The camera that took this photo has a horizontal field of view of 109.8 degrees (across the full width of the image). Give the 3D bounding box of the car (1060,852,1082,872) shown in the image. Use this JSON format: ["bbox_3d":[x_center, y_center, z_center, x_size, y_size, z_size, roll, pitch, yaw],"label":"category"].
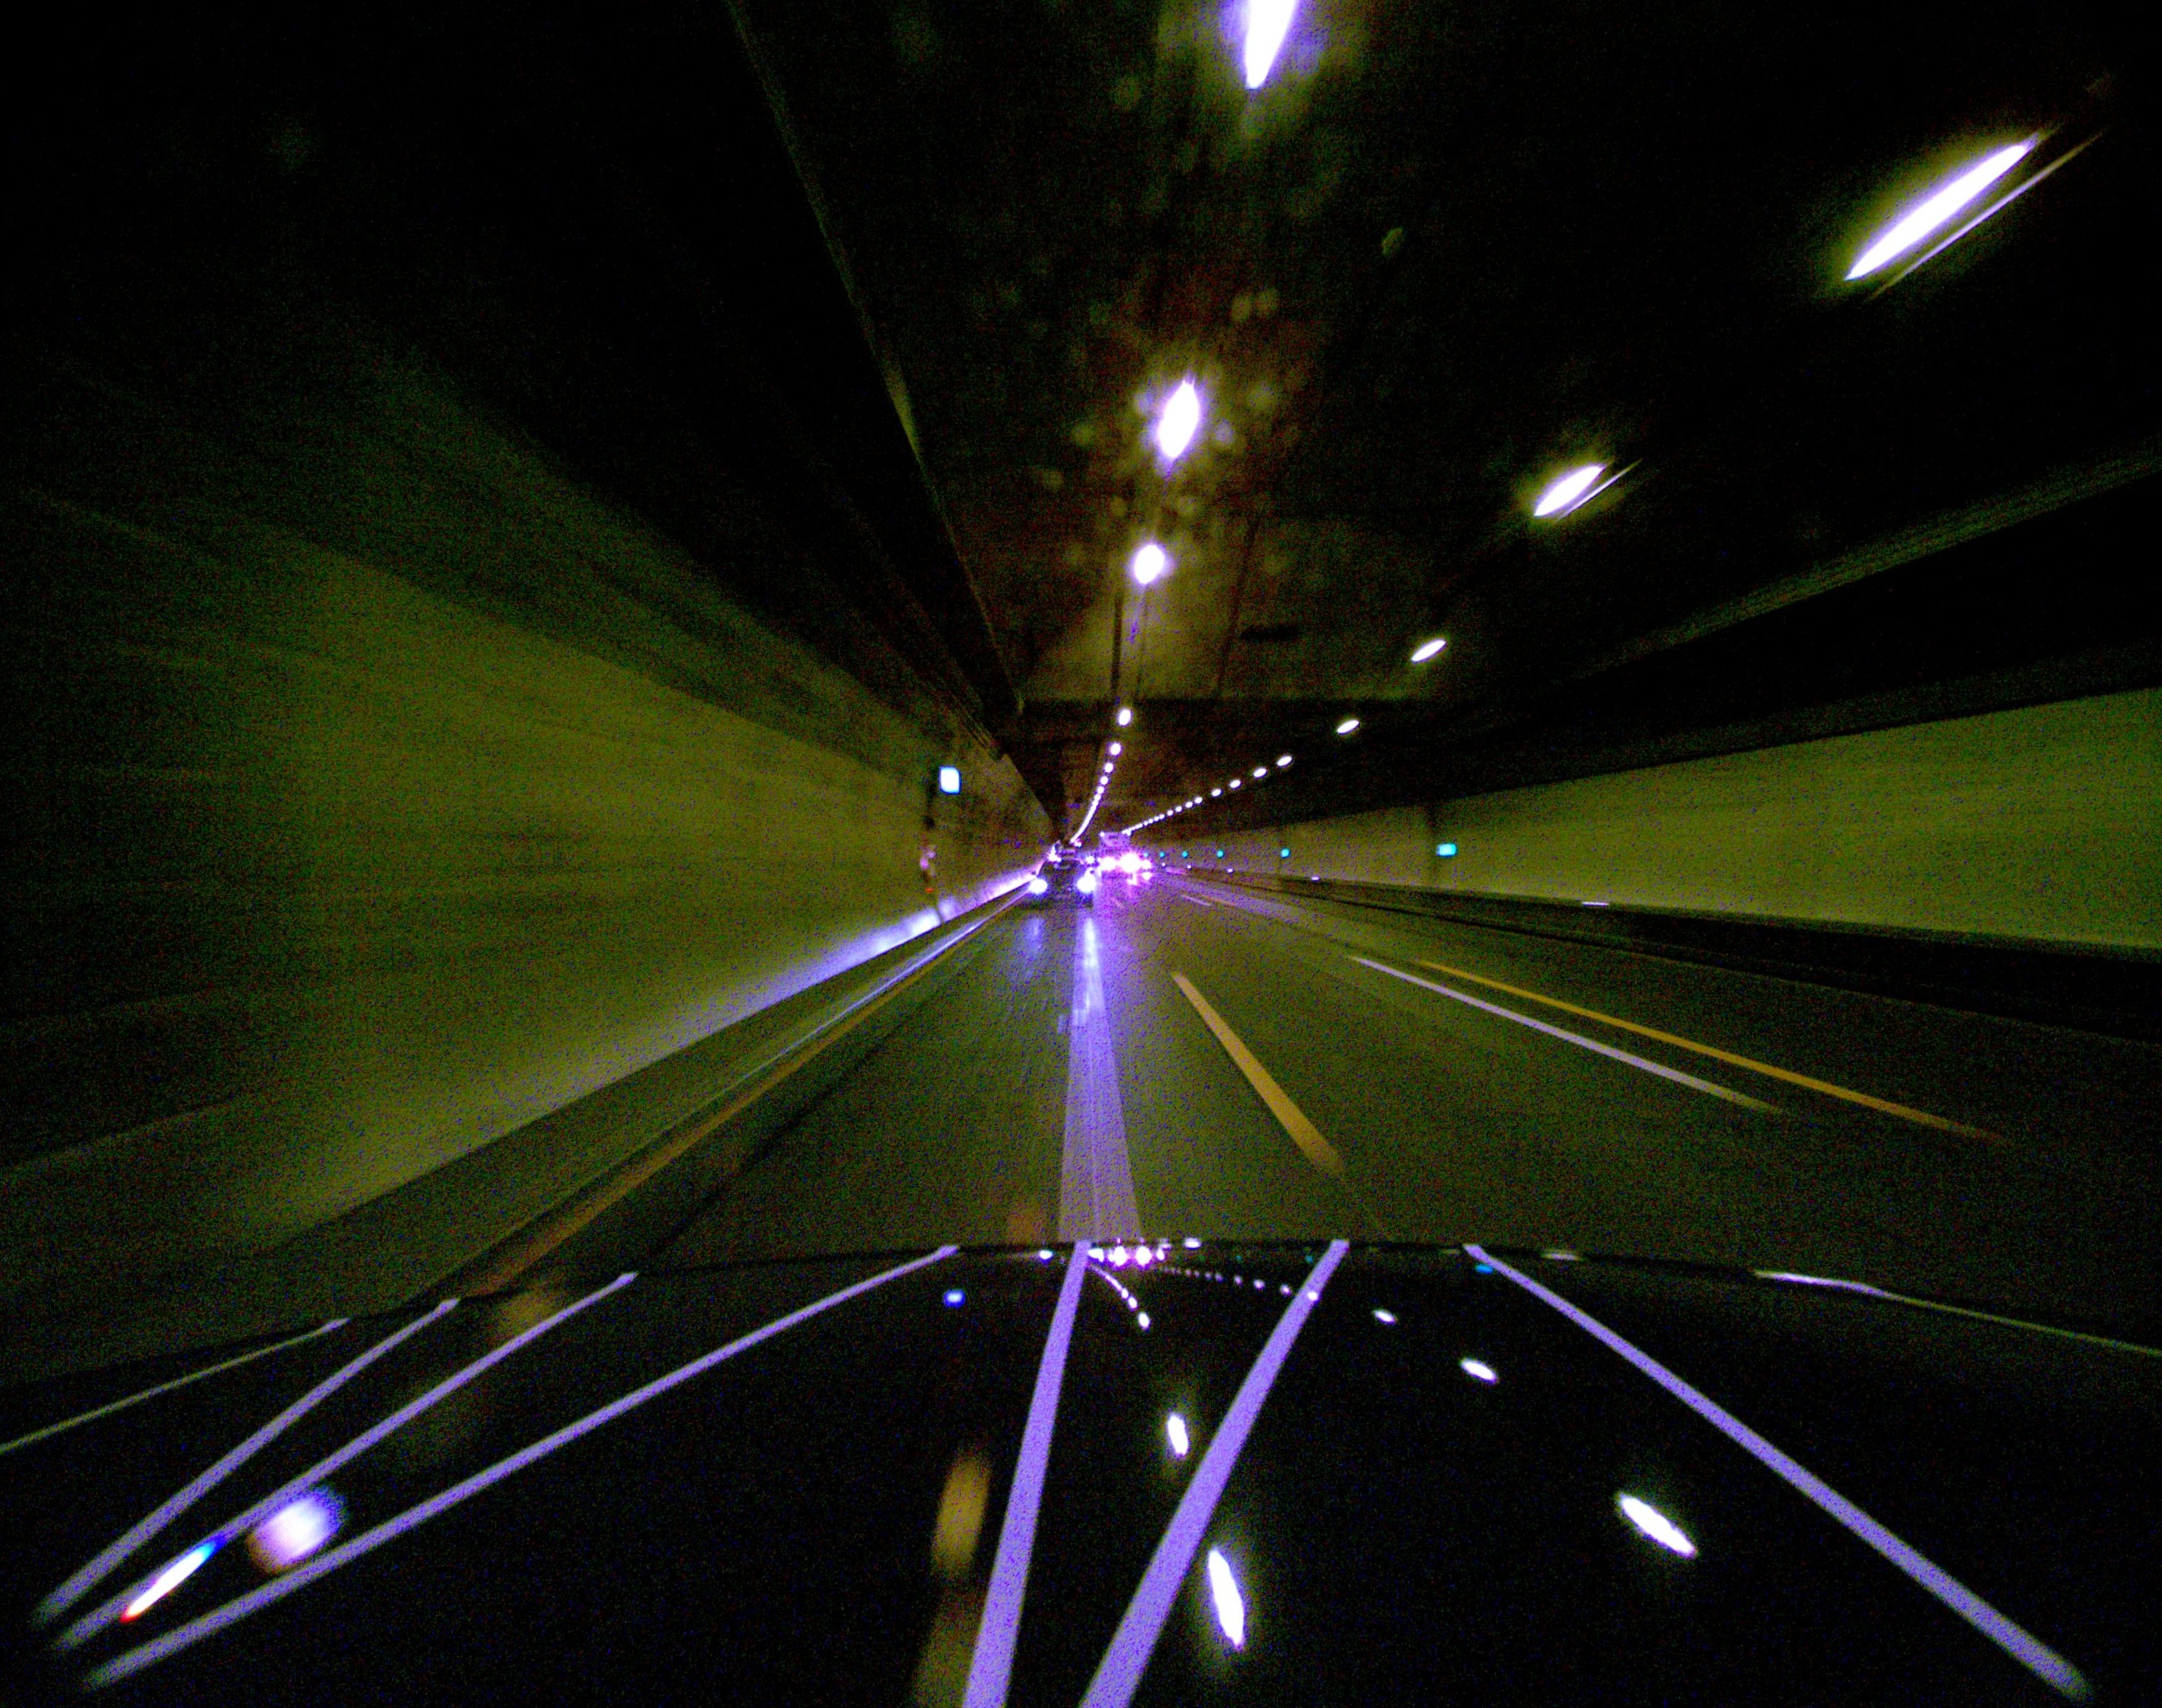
[{"bbox_3d":[-1.098,0.869,81.998,1.999,2.002,4.852,-2,0,-3],"label":"car"}]

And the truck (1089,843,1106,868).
[{"bbox_3d":[2.175,0.186,101.743,2.162,3.098,6.029,-3,1,0],"label":"truck"}]

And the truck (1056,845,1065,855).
[{"bbox_3d":[-7.107,-1.427,264.433,2.208,3.449,11.765,-2,0,1],"label":"truck"}]

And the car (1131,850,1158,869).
[{"bbox_3d":[5.532,0.453,67.019,1.998,1.531,4.850,-2,1,1],"label":"car"}]

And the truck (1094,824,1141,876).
[{"bbox_3d":[2.516,-0.280,54.426,2.534,3.314,7.713,-2,0,-2],"label":"truck"}]

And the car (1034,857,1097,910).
[{"bbox_3d":[-0.557,0.891,24.866,1.826,1.469,4.520,-3,0,-2],"label":"car"}]

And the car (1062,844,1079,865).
[{"bbox_3d":[-1.437,0.017,104.097,1.999,2.710,6.272,-3,1,-2],"label":"car"}]

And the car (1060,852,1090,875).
[{"bbox_3d":[-0.494,0.643,56.576,1.999,1.531,4.740,-3,1,-2],"label":"car"}]
